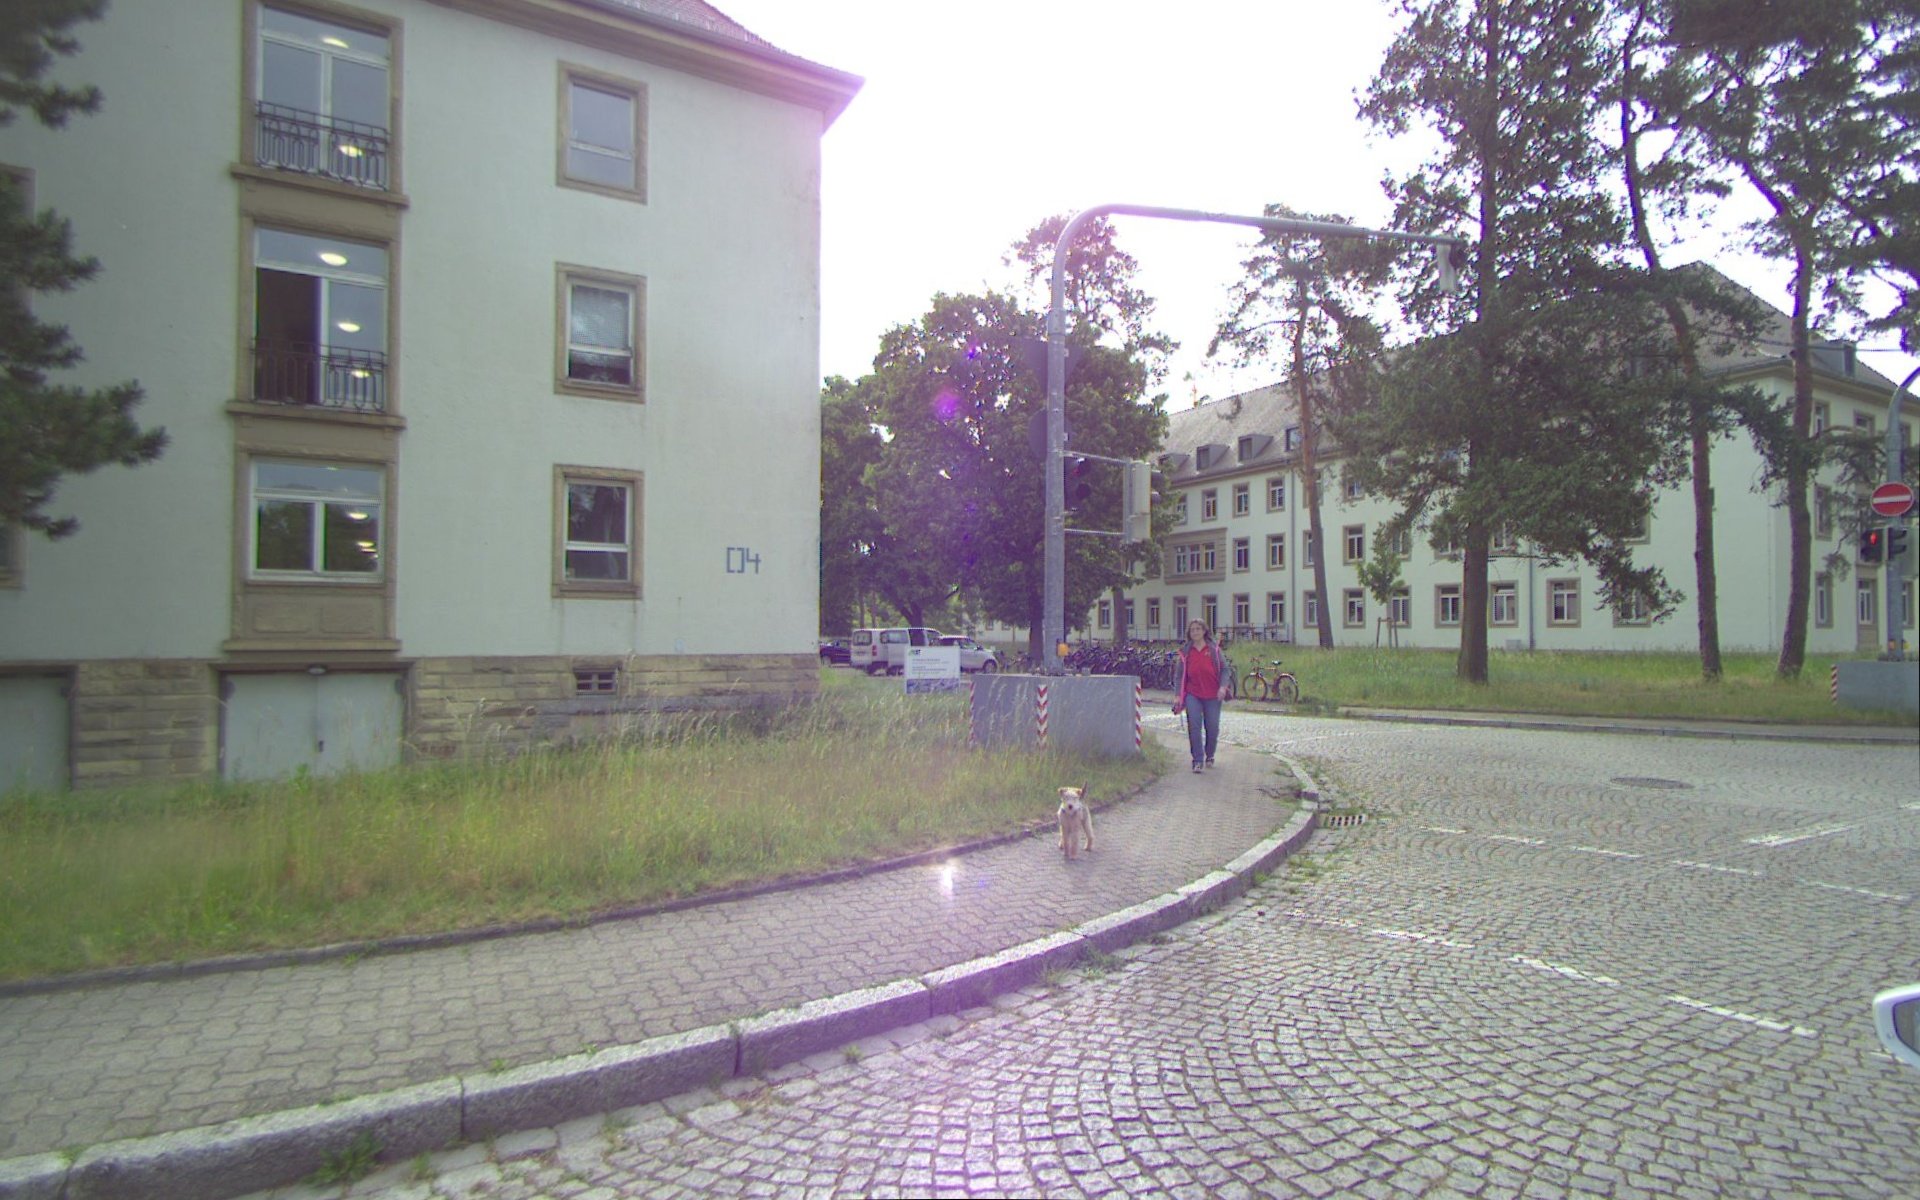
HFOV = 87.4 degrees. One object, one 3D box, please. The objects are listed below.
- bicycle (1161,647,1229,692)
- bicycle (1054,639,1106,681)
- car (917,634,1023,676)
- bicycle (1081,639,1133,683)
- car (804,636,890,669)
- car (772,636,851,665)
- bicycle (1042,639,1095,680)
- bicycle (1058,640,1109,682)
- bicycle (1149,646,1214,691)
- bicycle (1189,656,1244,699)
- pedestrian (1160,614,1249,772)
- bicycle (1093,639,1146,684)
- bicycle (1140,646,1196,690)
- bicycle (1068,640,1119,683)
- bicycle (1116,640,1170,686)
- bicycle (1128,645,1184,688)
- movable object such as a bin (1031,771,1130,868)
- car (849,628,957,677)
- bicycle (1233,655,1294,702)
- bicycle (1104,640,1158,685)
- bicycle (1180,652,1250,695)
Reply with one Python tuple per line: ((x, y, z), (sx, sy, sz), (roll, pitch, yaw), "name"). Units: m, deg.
((6.377, 1.865, 27.202), (1.931, 1.193, 0.572), (1, -2, -31), "bicycle")
((3.844, 1.907, 32.080), (1.764, 1.300, 0.440), (1, -2, -31), "bicycle")
((0.408, 2.149, 39.849), (3.849, 1.576, 1.832), (1, -2, -29), "car")
((4.482, 1.837, 30.579), (1.676, 1.300, 0.447), (1, -2, -31), "bicycle")
((-5.594, 2.582, 49.797), (3.849, 1.534, 1.832), (1, -2, -29), "car")
((-8.084, 2.740, 54.654), (3.849, 1.546, 1.832), (1, -2, -29), "car")
((3.509, 1.907, 32.421), (1.806, 1.300, 0.447), (1, -2, -31), "bicycle")
((3.899, 1.897, 31.569), (1.676, 1.300, 0.447), (1, -2, -31), "bicycle")
((6.123, 1.869, 27.728), (1.908, 1.193, 0.525), (1, -2, -31), "bicycle")
((6.256, 1.879, 24.560), (0.446, 1.009, 1.454), (1, -2, -27), "bicycle")
((2.719, 1.017, 11.279), (0.921, 1.690, 0.863), (0, -2, 11), "pedestrian")
((4.771, 1.834, 30.097), (1.676, 1.300, 0.447), (1, -2, -31), "bicycle")
((5.829, 1.884, 28.149), (1.676, 1.193, 0.447), (1, -2, -31), "bicycle")
((4.142, 1.895, 31.148), (1.676, 1.300, 0.447), (1, -2, -31), "bicycle")
((5.331, 1.829, 29.245), (1.676, 1.300, 0.447), (1, -2, -31), "bicycle")
((5.580, 1.874, 28.566), (1.676, 1.193, 0.447), (1, -2, -31), "bicycle")
((0.841, 1.491, 6.919), (0.437, 0.510, 0.751), (-1, -2, 28), "movable object such as a bin")
((-2.355, 2.156, 41.543), (4.085, 1.932, 1.832), (1, -2, -29), "car")
((7.004, 1.800, 23.233), (0.446, 1.009, 1.454), (1, -2, -27), "bicycle")
((5.054, 1.831, 29.667), (1.676, 1.300, 0.447), (1, -2, -31), "bicycle")
((6.775, 1.928, 26.630), (1.973, 1.092, 0.572), (1, -2, -31), "bicycle")
